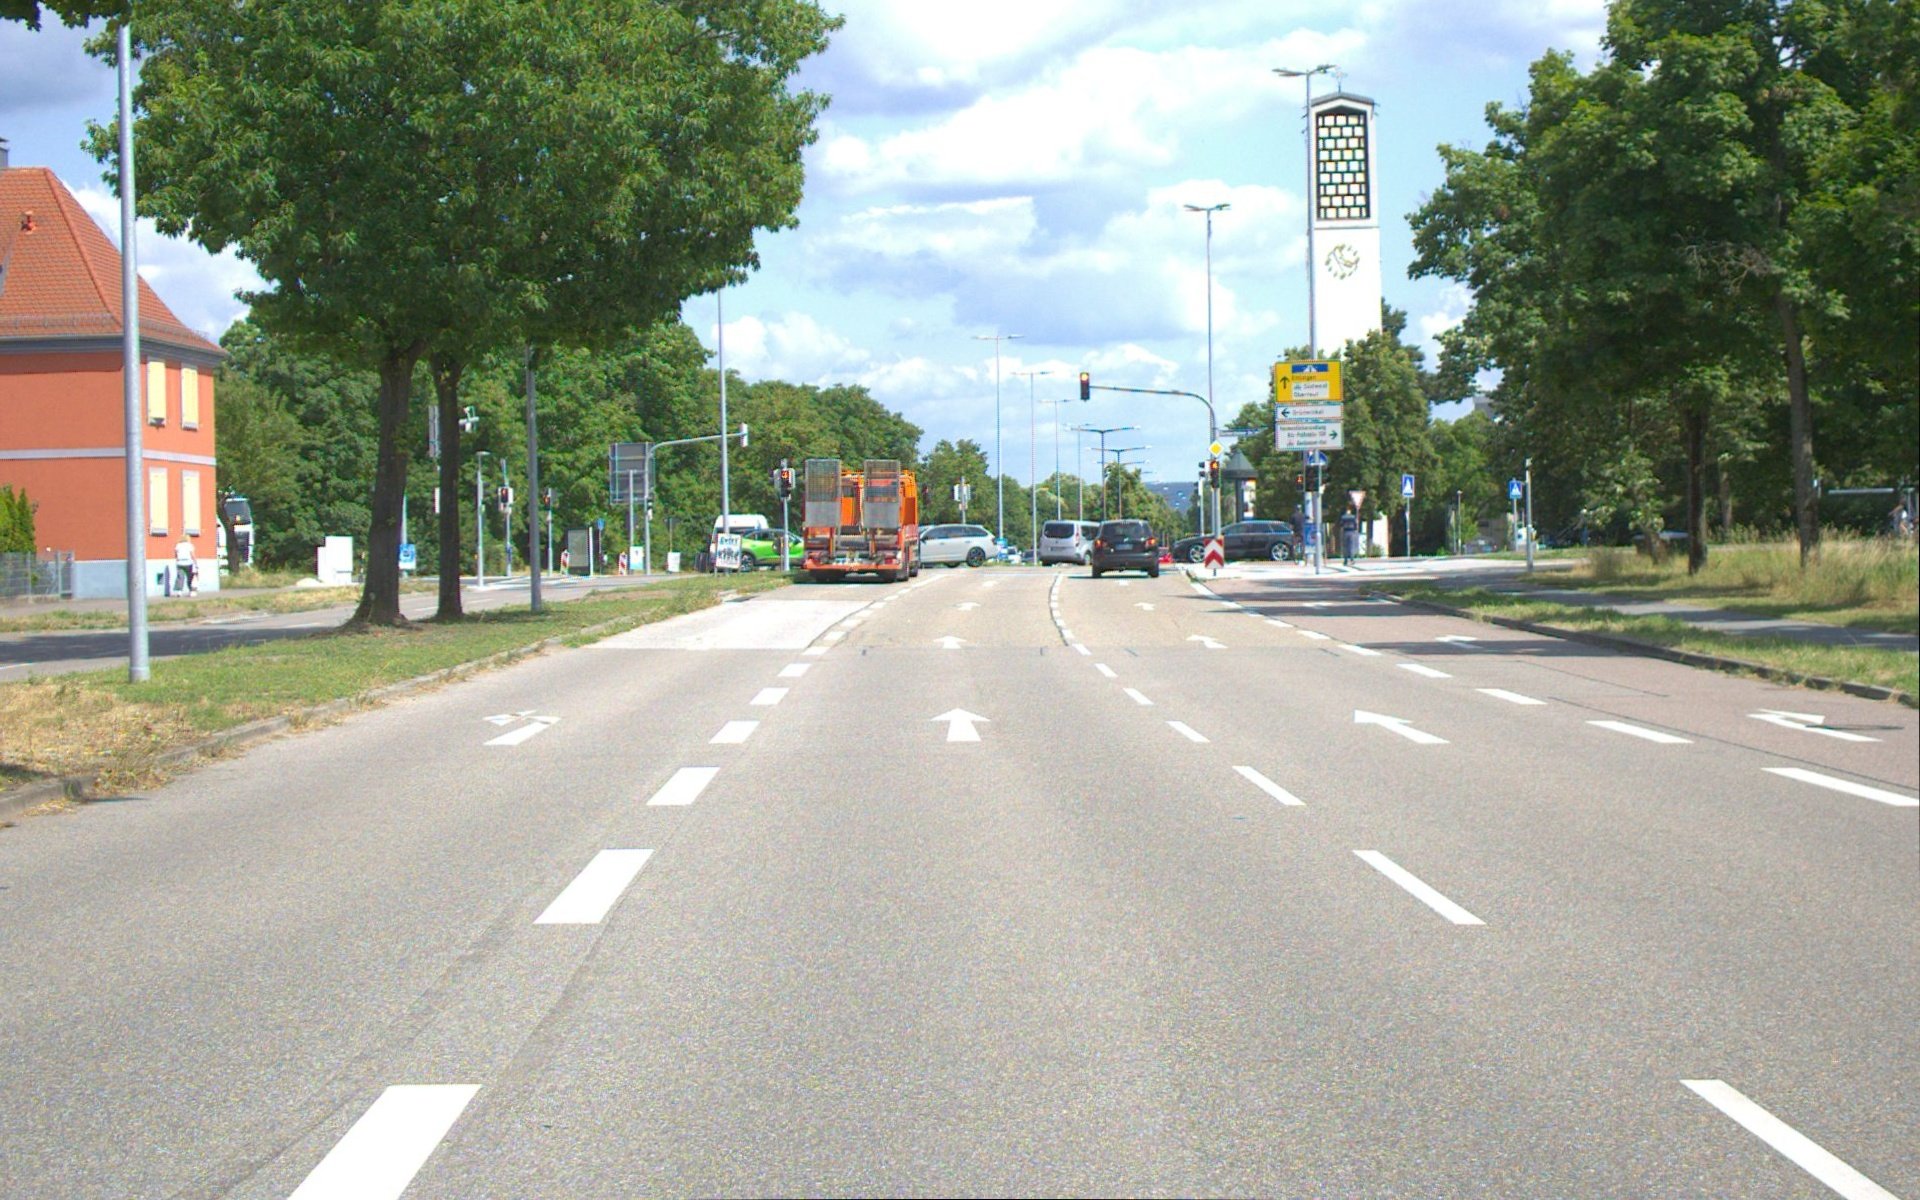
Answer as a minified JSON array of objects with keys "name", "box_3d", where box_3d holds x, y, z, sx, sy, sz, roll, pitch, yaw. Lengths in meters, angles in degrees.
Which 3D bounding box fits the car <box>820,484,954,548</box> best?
[{"name":"car","box_3d":[-2.428,-2.760,114.042,3.986,2.007,2.001,1,0,-20]}]

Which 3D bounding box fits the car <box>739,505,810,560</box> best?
[{"name":"car","box_3d":[-5.658,-2.054,105.551,1.732,1.503,4.652,-4,0,1]}]

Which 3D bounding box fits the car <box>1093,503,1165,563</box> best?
[{"name":"car","box_3d":[4.588,-1.809,93.734,1.799,1.547,4.000,1,0,1]}]

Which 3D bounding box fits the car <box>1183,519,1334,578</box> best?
[{"name":"car","box_3d":[7.706,-1.330,88.855,3.571,1.437,1.476,1,0,-16]}]

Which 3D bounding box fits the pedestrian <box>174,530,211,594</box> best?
[{"name":"pedestrian","box_3d":[-19.109,-0.946,85.609,0.696,1.578,0.851,1,0,1]}]

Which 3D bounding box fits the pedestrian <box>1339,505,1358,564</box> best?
[{"name":"pedestrian","box_3d":[11.768,-1.970,104.138,0.465,1.772,0.482,1,0,13]}]

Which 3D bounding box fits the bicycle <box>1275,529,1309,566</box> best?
[{"name":"bicycle","box_3d":[10.224,-1.618,105.867,0.648,1.104,1.926,1,0,17]}]

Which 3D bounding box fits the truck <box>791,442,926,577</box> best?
[{"name":"truck","box_3d":[-2.646,-2.353,93.347,3.071,3.402,11.068,1,0,1]}]

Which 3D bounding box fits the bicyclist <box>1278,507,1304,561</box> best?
[{"name":"bicyclist","box_3d":[10.175,-2.028,105.678,0.648,1.655,0.649,1,0,17]}]
